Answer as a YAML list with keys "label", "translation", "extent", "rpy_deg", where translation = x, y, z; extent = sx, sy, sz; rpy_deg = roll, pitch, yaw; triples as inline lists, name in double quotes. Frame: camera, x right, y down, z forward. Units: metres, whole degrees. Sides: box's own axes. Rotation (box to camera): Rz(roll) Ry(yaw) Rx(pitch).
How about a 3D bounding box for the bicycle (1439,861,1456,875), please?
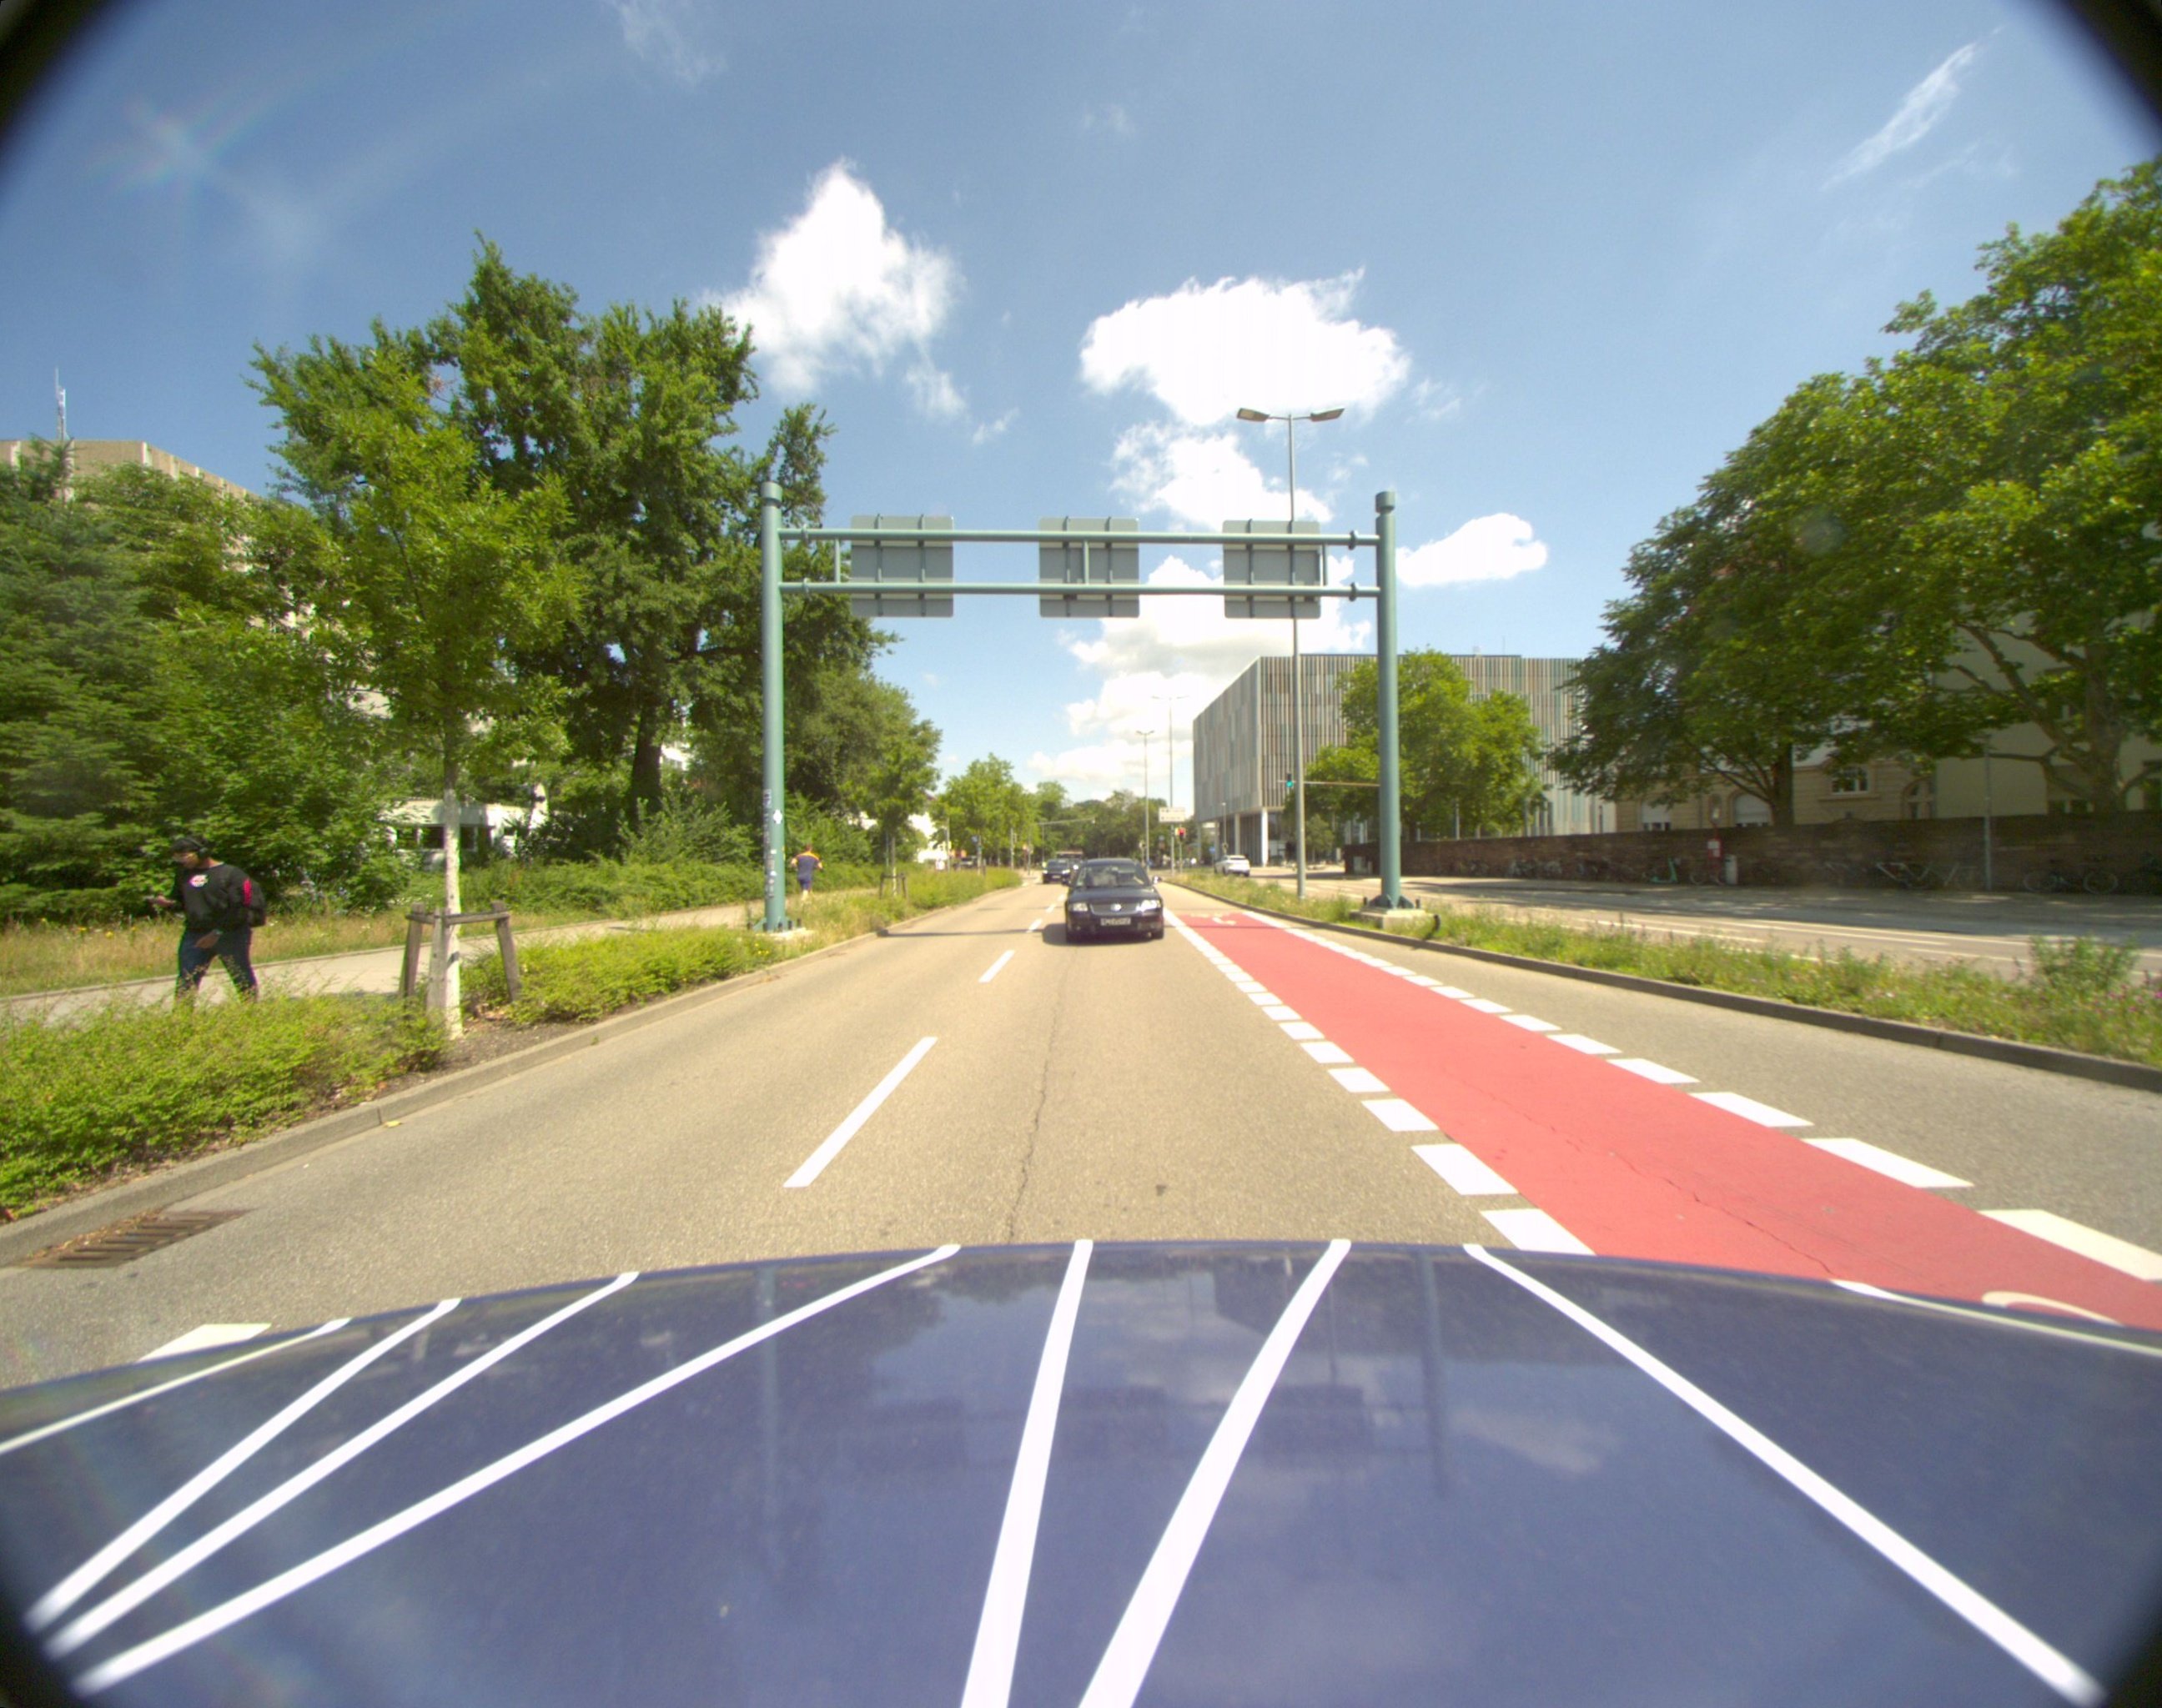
- label: "bicycle"
  translation: [22.492, 0.859, 46.660]
  extent: [0.265, 0.826, 1.235]
  rpy_deg: [-1, 0, -11]

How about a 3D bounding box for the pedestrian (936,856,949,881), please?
- label: "pedestrian"
  translation: [-11.419, 1.206, 62.667]
  extent: [0.847, 2.026, 0.900]
  rpy_deg: [-1, 0, -19]

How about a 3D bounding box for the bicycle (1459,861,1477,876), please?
- label: "bicycle"
  translation: [22.805, 0.845, 44.789]
  extent: [0.265, 0.826, 1.235]
  rpy_deg: [-1, 0, -11]

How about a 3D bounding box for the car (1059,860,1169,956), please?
- label: "car"
  translation: [0.565, 0.887, 14.566]
  extent: [1.723, 1.472, 4.594]
  rpy_deg: [-3, 0, 1]

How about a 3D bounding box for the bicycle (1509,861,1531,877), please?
- label: "bicycle"
  translation: [23.362, 0.794, 40.419]
  extent: [0.265, 0.826, 1.234]
  rpy_deg: [-1, 0, -11]

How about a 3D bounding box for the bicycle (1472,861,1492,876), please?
- label: "bicycle"
  translation: [22.931, 0.819, 43.441]
  extent: [0.265, 0.826, 1.234]
  rpy_deg: [-1, 0, -11]

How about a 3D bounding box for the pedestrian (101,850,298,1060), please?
- label: "pedestrian"
  translation: [-7.507, 0.808, 6.508]
  extent: [0.760, 1.674, 0.817]
  rpy_deg: [-1, 0, 12]

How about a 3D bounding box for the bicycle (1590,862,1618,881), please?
- label: "bicycle"
  translation: [24.012, 0.788, 34.907]
  extent: [0.265, 0.826, 1.235]
  rpy_deg: [-1, 0, -11]

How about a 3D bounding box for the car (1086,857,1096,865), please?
- label: "car"
  translation: [1.911, 1.327, 146.381]
  extent: [1.723, 1.545, 4.594]
  rpy_deg: [-3, 0, 1]

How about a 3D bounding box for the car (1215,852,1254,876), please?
- label: "car"
  translation: [11.748, 0.751, 58.460]
  extent: [1.999, 1.701, 4.512]
  rpy_deg: [-1, 0, -1]

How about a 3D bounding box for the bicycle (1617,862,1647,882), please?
- label: "bicycle"
  translation: [24.159, 0.775, 33.341]
  extent: [0.265, 0.826, 1.235]
  rpy_deg: [-1, 0, -11]

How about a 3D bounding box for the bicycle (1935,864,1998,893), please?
- label: "bicycle"
  translation: [26.246, 0.725, 22.540]
  extent: [0.265, 0.826, 1.235]
  rpy_deg: [-1, 0, -11]

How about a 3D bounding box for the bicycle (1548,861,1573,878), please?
- label: "bicycle"
  translation: [23.661, 0.753, 37.507]
  extent: [0.265, 0.826, 1.235]
  rpy_deg: [-1, 0, -11]

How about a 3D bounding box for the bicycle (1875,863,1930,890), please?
- label: "bicycle"
  translation: [25.979, 0.704, 24.049]
  extent: [0.265, 0.826, 1.235]
  rpy_deg: [-1, 0, -11]

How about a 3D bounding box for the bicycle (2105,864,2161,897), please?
- label: "bicycle"
  translation: [27.131, 0.661, 19.357]
  extent: [0.265, 0.826, 1.234]
  rpy_deg: [-1, 0, -13]

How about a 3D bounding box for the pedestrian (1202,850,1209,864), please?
- label: "pedestrian"
  translation: [18.354, 0.419, 112.343]
  extent: [0.864, 2.002, 0.995]
  rpy_deg: [-1, 0, -1]

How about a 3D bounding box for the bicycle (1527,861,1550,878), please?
- label: "bicycle"
  translation: [23.472, 0.792, 39.008]
  extent: [0.265, 0.826, 1.235]
  rpy_deg: [-1, 0, -11]

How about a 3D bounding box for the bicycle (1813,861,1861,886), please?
- label: "bicycle"
  translation: [25.720, 0.662, 25.868]
  extent: [0.265, 0.826, 1.235]
  rpy_deg: [-1, 0, -11]

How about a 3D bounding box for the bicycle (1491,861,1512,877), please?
- label: "bicycle"
  translation: [23.156, 0.822, 41.814]
  extent: [0.265, 0.826, 1.234]
  rpy_deg: [-1, 0, -11]

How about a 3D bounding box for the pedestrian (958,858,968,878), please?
- label: "pedestrian"
  translation: [-10.020, 1.182, 64.496]
  extent: [0.767, 1.601, 0.765]
  rpy_deg: [-1, 0, -4]

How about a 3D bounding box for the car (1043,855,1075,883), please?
- label: "car"
  translation: [-1.404, 0.936, 49.233]
  extent: [1.816, 1.598, 4.479]
  rpy_deg: [-3, 0, 1]

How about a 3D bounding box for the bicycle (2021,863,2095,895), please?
- label: "bicycle"
  translation: [26.653, 0.673, 20.744]
  extent: [0.265, 0.826, 1.234]
  rpy_deg: [-1, 0, -13]

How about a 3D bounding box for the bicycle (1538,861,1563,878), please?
- label: "bicycle"
  translation: [23.188, 0.754, 37.537]
  extent: [0.265, 0.826, 1.234]
  rpy_deg: [-1, 0, -11]

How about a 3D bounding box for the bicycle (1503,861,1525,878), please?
- label: "bicycle"
  translation: [22.864, 0.811, 40.097]
  extent: [0.265, 0.826, 1.234]
  rpy_deg: [-1, 0, -11]

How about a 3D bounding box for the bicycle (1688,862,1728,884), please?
- label: "bicycle"
  translation: [24.822, 0.744, 30.091]
  extent: [0.265, 0.826, 1.233]
  rpy_deg: [-1, 0, -21]

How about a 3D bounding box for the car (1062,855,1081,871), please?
- label: "car"
  translation: [-0.921, 0.950, 79.511]
  extent: [1.816, 1.598, 4.479]
  rpy_deg: [-3, 0, 1]

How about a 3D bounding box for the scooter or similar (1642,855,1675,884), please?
- label: "scooter or similar"
  translation: [23.773, 0.627, 31.291]
  extent: [0.265, 1.182, 1.234]
  rpy_deg: [-1, 0, -11]

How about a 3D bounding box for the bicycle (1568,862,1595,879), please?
- label: "bicycle"
  translation: [23.860, 0.784, 36.236]
  extent: [0.265, 0.826, 1.235]
  rpy_deg: [-1, 0, -11]

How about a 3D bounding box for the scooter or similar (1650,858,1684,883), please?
- label: "scooter or similar"
  translation: [24.578, 0.680, 31.861]
  extent: [0.266, 1.014, 1.140]
  rpy_deg: [-1, 0, -22]

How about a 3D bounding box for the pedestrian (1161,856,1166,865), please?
- label: "pedestrian"
  translation: [15.878, 1.302, 146.441]
  extent: [0.864, 1.647, 0.995]
  rpy_deg: [-1, 0, -1]

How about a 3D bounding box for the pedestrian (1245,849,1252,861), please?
- label: "pedestrian"
  translation: [27.207, 0.140, 123.486]
  extent: [0.864, 2.002, 0.995]
  rpy_deg: [-1, 0, 0]

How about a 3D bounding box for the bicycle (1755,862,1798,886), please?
- label: "bicycle"
  translation: [25.192, 0.711, 27.531]
  extent: [0.265, 0.826, 1.235]
  rpy_deg: [-1, 0, -11]

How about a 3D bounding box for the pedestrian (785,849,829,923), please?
- label: "pedestrian"
  translation: [-6.641, 0.756, 18.461]
  extent: [0.639, 1.754, 0.887]
  rpy_deg: [-1, 0, 7]
